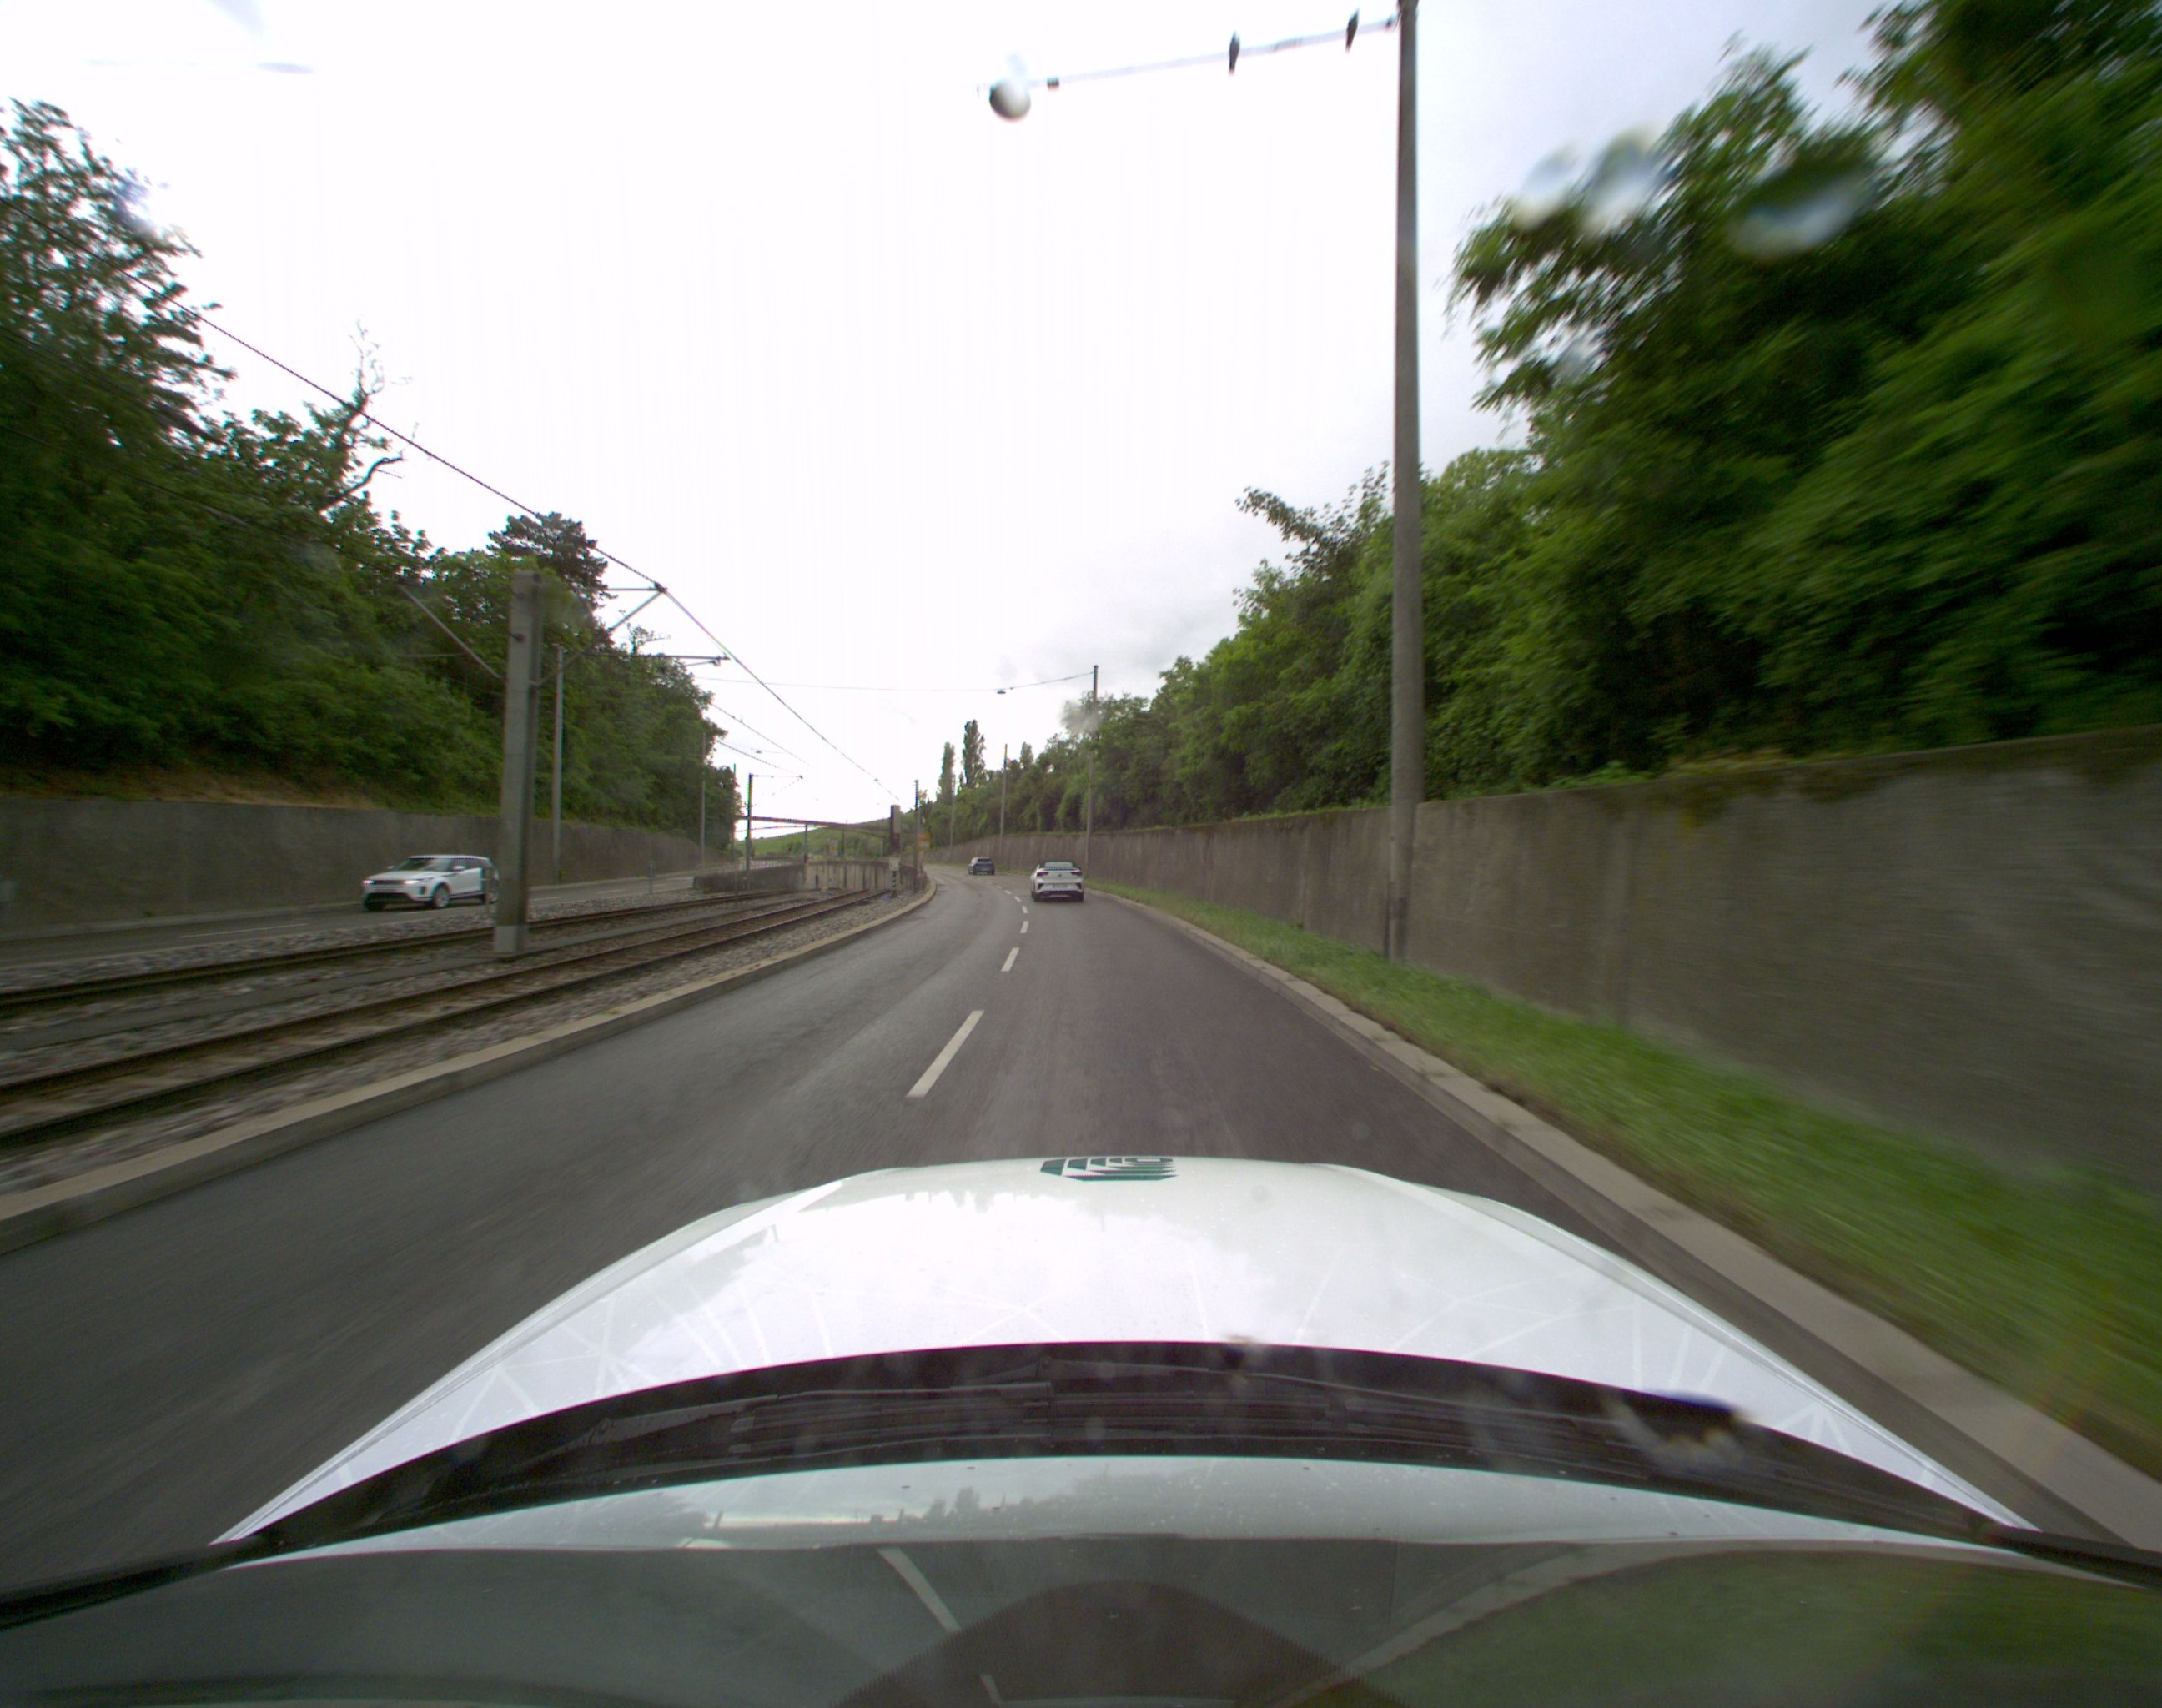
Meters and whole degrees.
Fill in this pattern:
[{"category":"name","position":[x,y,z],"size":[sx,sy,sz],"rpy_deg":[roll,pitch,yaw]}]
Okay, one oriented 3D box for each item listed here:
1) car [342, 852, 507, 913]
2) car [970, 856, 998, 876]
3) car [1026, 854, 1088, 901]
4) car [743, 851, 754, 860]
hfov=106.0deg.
[{"category":"car","position":[-20.173,0.814,25.317],"size":[1.933,1.683,4.397],"rpy_deg":[-1,0,-7]},{"category":"car","position":[-7.940,0.953,66.661],"size":[1.927,1.599,4.045],"rpy_deg":[-1,0,-12]},{"category":"car","position":[-0.956,0.806,30.101],"size":[1.993,1.578,4.117],"rpy_deg":[-1,0,-6]},{"category":"car","position":[-67.490,0.365,165.191],"size":[1.826,1.704,4.078],"rpy_deg":[-1,0,-24]}]
